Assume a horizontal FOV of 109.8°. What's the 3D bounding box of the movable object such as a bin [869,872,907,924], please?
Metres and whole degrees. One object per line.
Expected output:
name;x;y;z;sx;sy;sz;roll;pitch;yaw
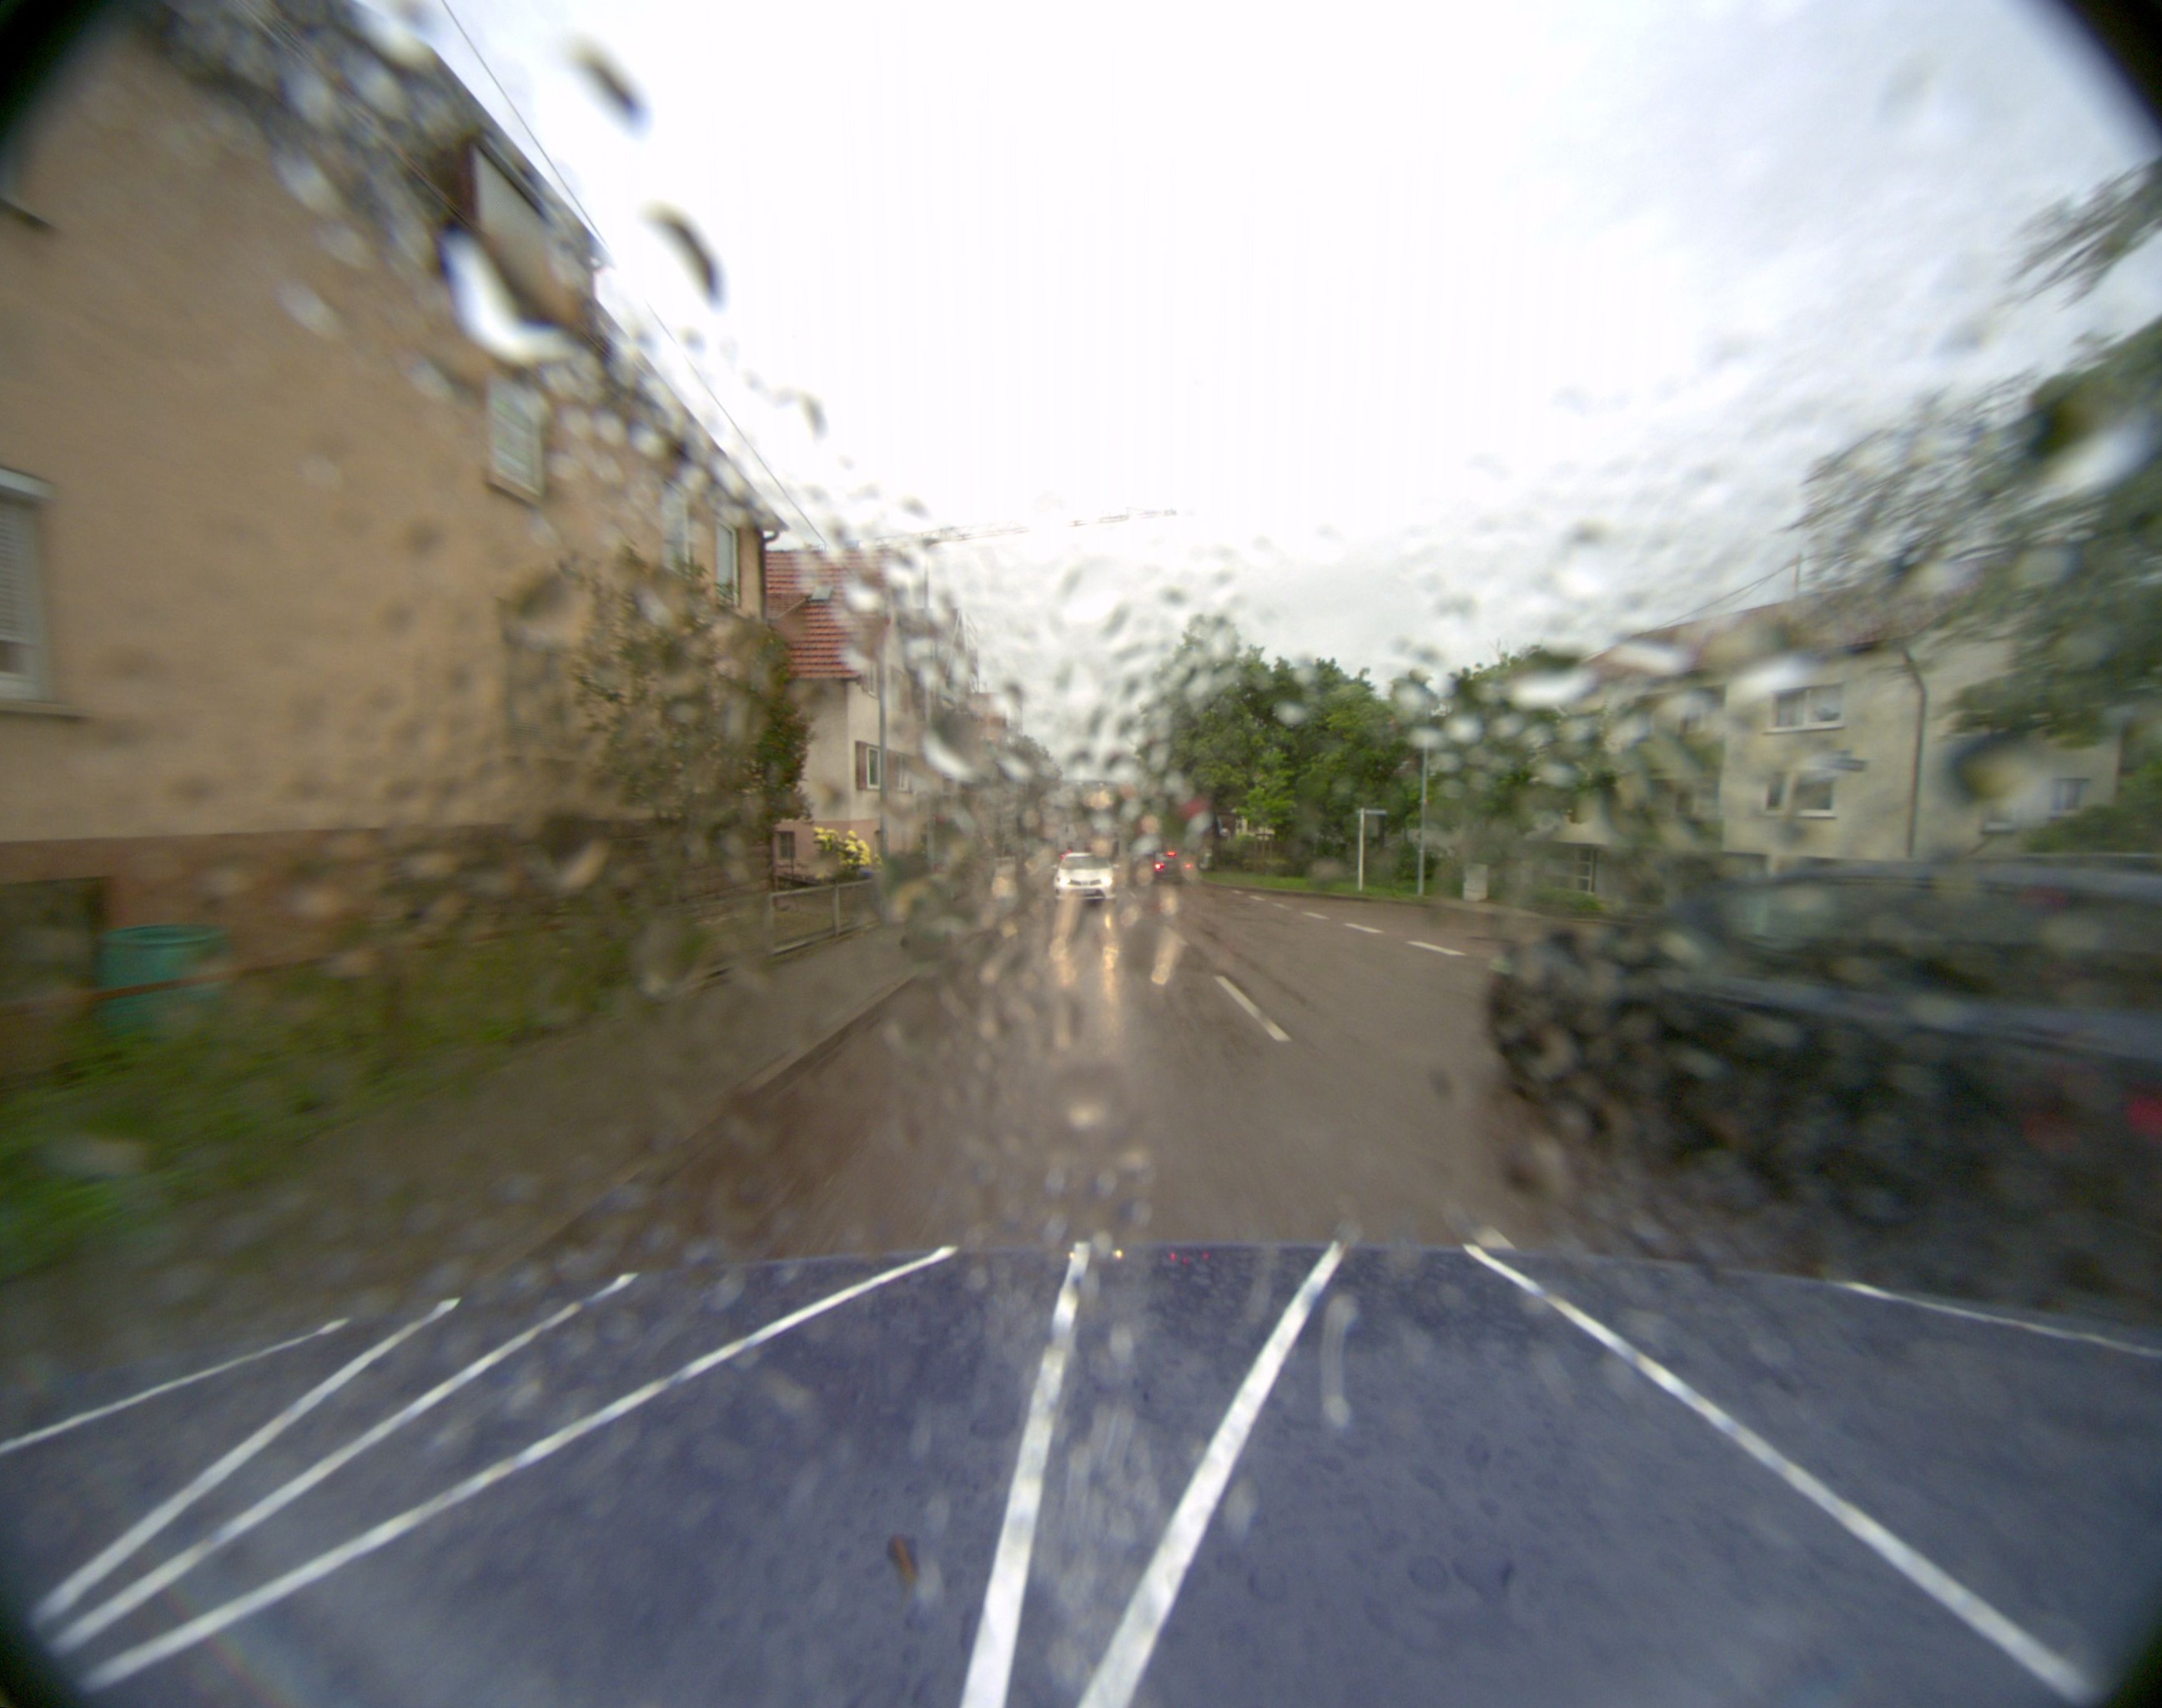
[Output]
movable object such as a bin;-4.261;0.964;16.799;0.611;1.070;0.792;2;1;-2

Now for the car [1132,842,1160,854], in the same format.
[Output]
car;8.261;-0.754;96.610;1.729;1.524;3.991;-2;1;-27

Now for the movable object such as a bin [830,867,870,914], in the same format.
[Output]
movable object such as a bin;-5.168;0.816;17.030;0.611;0.961;0.792;5;1;-2

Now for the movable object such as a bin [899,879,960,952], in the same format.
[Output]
movable object such as a bin;-2.322;0.932;11.716;0.721;1.046;0.800;-1;1;4

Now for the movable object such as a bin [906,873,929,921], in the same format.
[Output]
movable object such as a bin;-3.565;0.939;16.589;0.380;1.012;0.487;-1;1;1

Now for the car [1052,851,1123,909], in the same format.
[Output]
car;0.094;0.692;22.462;1.859;1.427;4.015;-2;1;-2

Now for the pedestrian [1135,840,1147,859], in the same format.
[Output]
pedestrian;6.073;-0.466;77.168;0.971;1.820;0.894;-1;1;-8

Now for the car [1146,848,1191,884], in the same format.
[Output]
car;3.819;0.483;33.817;1.564;1.446;4.084;-1;1;1

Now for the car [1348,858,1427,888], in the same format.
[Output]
car;15.138;0.900;37.733;2.001;1.322;3.442;-1;1;-14

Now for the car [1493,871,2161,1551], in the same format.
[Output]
car;3.319;0.848;2.646;1.723;1.421;3.844;-1;1;1

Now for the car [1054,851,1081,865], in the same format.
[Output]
car;-1.530;0.450;83.297;1.772;1.432;4.057;-2;1;-20

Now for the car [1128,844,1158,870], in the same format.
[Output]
car;4.302;0.175;53.356;1.755;1.679;4.375;-1;1;0
